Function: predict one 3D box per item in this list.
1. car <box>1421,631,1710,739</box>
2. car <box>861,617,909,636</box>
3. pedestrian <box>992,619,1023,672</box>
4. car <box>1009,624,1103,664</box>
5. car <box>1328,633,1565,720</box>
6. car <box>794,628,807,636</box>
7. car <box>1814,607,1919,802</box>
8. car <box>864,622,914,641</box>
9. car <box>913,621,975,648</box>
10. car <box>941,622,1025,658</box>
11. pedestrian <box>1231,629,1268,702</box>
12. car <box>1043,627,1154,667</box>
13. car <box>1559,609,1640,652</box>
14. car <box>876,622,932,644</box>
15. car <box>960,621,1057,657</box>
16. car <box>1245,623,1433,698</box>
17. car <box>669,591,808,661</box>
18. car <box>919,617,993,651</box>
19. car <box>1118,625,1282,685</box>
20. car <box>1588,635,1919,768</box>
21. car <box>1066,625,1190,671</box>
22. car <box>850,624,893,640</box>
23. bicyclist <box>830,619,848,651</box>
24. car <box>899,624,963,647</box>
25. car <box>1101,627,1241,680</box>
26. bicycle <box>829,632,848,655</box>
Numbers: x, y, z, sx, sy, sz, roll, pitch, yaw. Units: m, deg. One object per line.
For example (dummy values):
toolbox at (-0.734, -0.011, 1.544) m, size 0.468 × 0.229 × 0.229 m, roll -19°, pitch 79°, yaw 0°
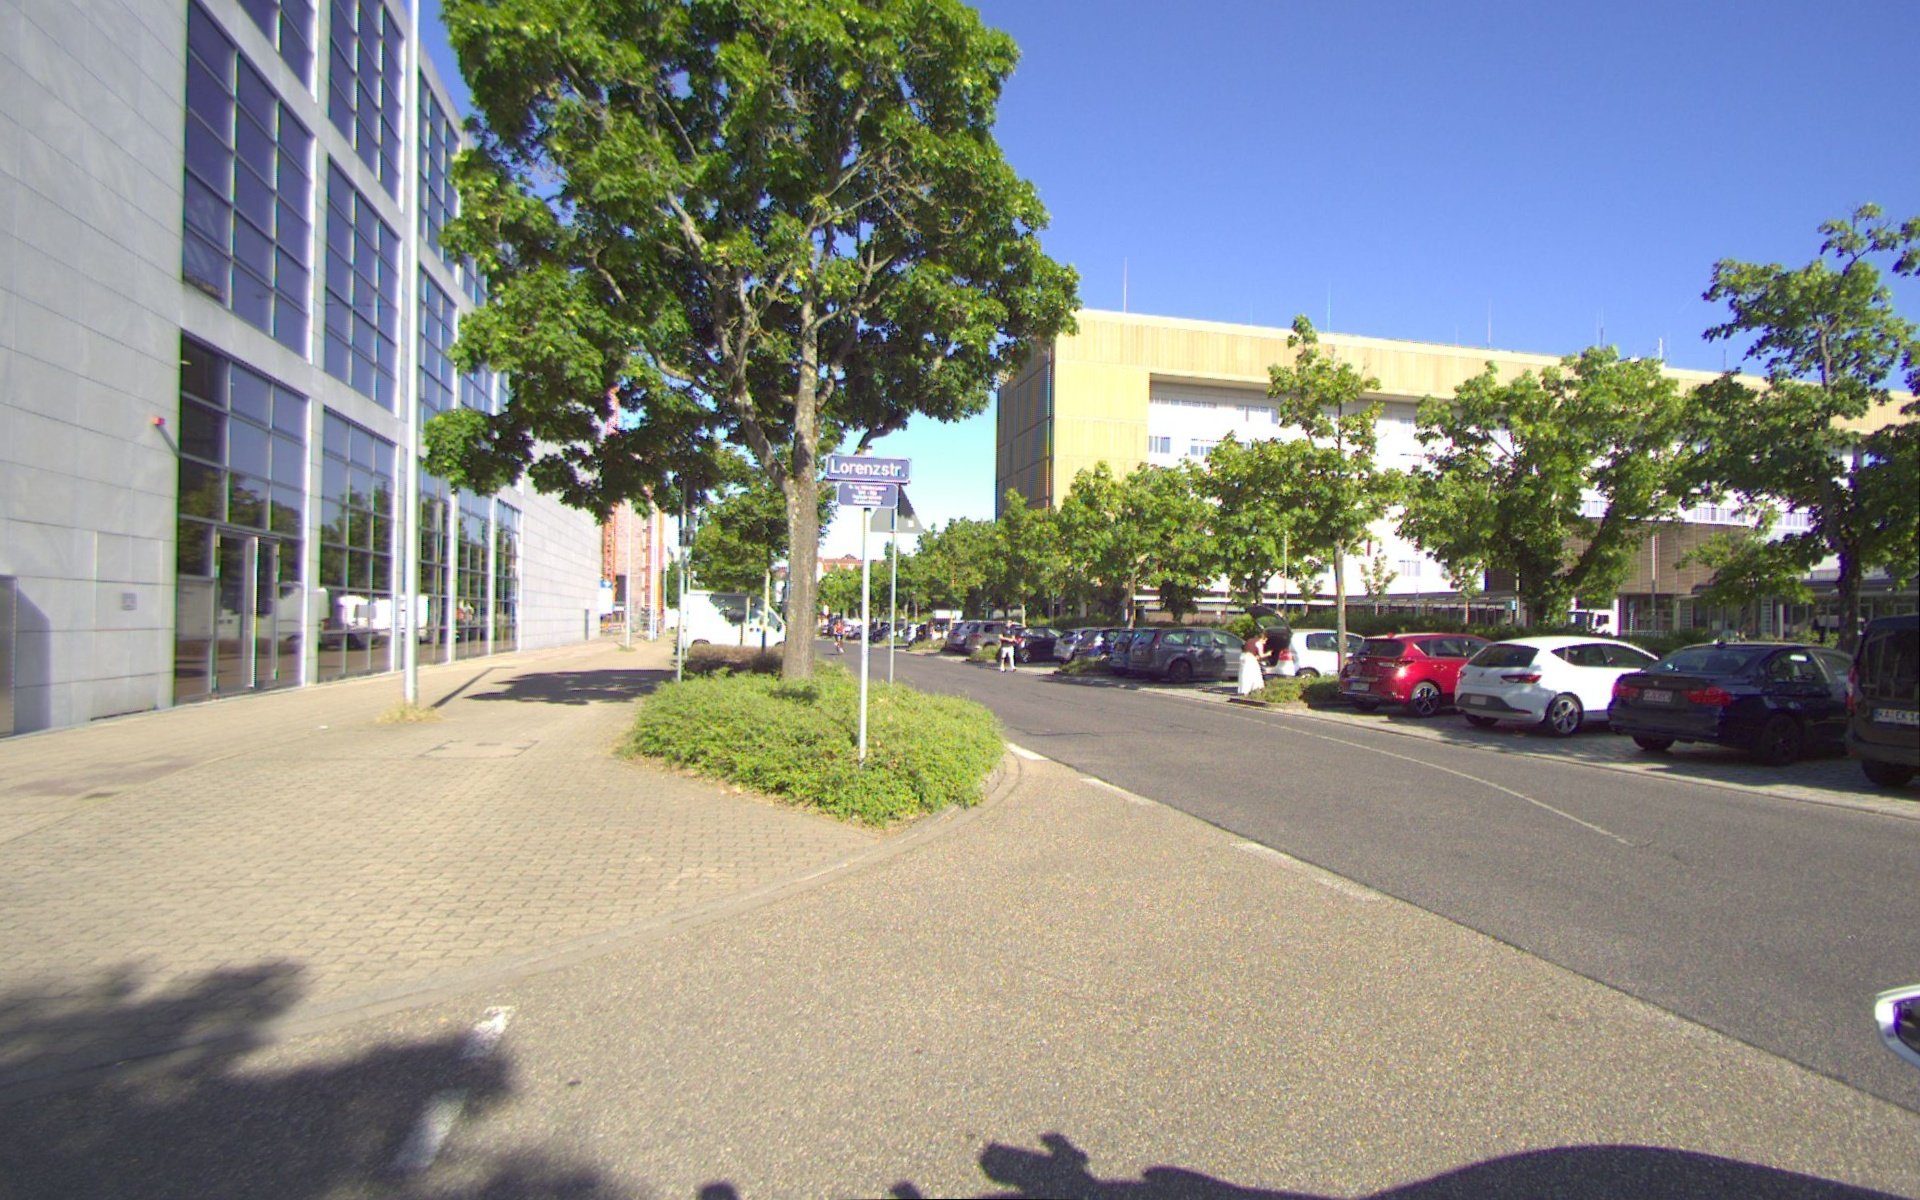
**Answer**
car at (9.545, 1.267, 15.915) m, size 3.847 × 1.456 × 1.803 m, roll -1°, pitch 0°, yaw -16°
car at (-6.545, 2.361, 87.976) m, size 3.931 × 1.603 × 2.026 m, roll 1°, pitch -2°, yaw -13°
pedestrian at (1.635, 1.557, 34.617) m, size 0.709 × 1.794 × 1.165 m, roll -1°, pitch -1°, yaw -15°
car at (3.863, 1.762, 40.542) m, size 3.407 × 1.508 × 1.741 m, roll 0°, pitch -2°, yaw -16°
car at (9.034, 1.374, 18.724) m, size 3.847 × 1.445 × 1.667 m, roll 1°, pitch 0°, yaw -16°
car at (-31.418, 6.291, 197.818) m, size 1.963 × 1.494 × 4.097 m, roll 1°, pitch 0°, yaw -16°
car at (11.180, 0.986, 10.127) m, size 4.097 × 1.871 × 1.875 m, roll 0°, pitch -1°, yaw -14°
car at (-6.056, 2.698, 85.473) m, size 3.931 × 1.558 × 1.857 m, roll 1°, pitch -2°, yaw -13°
car at (-1.014, 2.141, 62.577) m, size 3.558 × 1.570 × 1.701 m, roll 1°, pitch 0°, yaw -16°
car at (1.129, 1.999, 50.496) m, size 3.847 × 1.718 × 1.934 m, roll 1°, pitch 0°, yaw -16°
pedestrian at (6.558, 1.467, 22.787) m, size 0.751 × 1.600 × 0.674 m, roll 1°, pitch 0°, yaw 15°
car at (5.102, 1.711, 37.142) m, size 3.680 × 1.435 × 1.838 m, roll 0°, pitch -1°, yaw -13°
car at (38.432, 1.839, 60.374) m, size 3.582 × 2.524 × 2.228 m, roll 0°, pitch -1°, yaw -12°
car at (-4.102, 2.423, 73.746) m, size 3.848 × 1.506 × 1.738 m, roll 1°, pitch -1°, yaw -15°
car at (2.327, 1.831, 48.021) m, size 4.265 × 1.629 × 1.905 m, roll 0°, pitch -1°, yaw -18°
car at (8.790, 1.378, 23.354) m, size 3.847 × 1.599 × 1.674 m, roll 1°, pitch 0°, yaw -16°
car at (-8.806, 1.054, 40.098) m, size 5.175 × 2.450 × 2.118 m, roll 3°, pitch -2°, yaw -13°
car at (-0.256, 2.023, 60.126) m, size 4.064 × 1.953 × 1.972 m, roll 1°, pitch 0°, yaw -16°
car at (6.651, 1.481, 27.885) m, size 4.130 × 1.540 × 1.731 m, roll 0°, pitch -1°, yaw -16°
car at (10.466, 1.201, 12.870) m, size 4.099 × 1.424 × 1.823 m, roll 0°, pitch -1°, yaw -16°
car at (5.764, 1.636, 34.671) m, size 3.840 × 1.517 × 1.838 m, roll 0°, pitch -1°, yaw -13°
car at (-8.205, 2.938, 92.515) m, size 3.714 × 1.478 × 1.813 m, roll 1°, pitch -2°, yaw -14°
bicyclist at (-5.755, 1.648, 47.608) m, size 0.746 × 1.450 × 1.129 m, roll -1°, pitch -1°, yaw -12°
car at (-1.960, 2.333, 67.014) m, size 4.004 × 1.444 × 1.738 m, roll 0°, pitch -1°, yaw -13°
car at (6.352, 1.596, 30.327) m, size 3.847 × 1.487 × 1.616 m, roll 1°, pitch 0°, yaw -16°
bicycle at (-5.755, 2.058, 47.572) m, size 0.746 × 1.015 × 1.867 m, roll -1°, pitch -1°, yaw -12°
